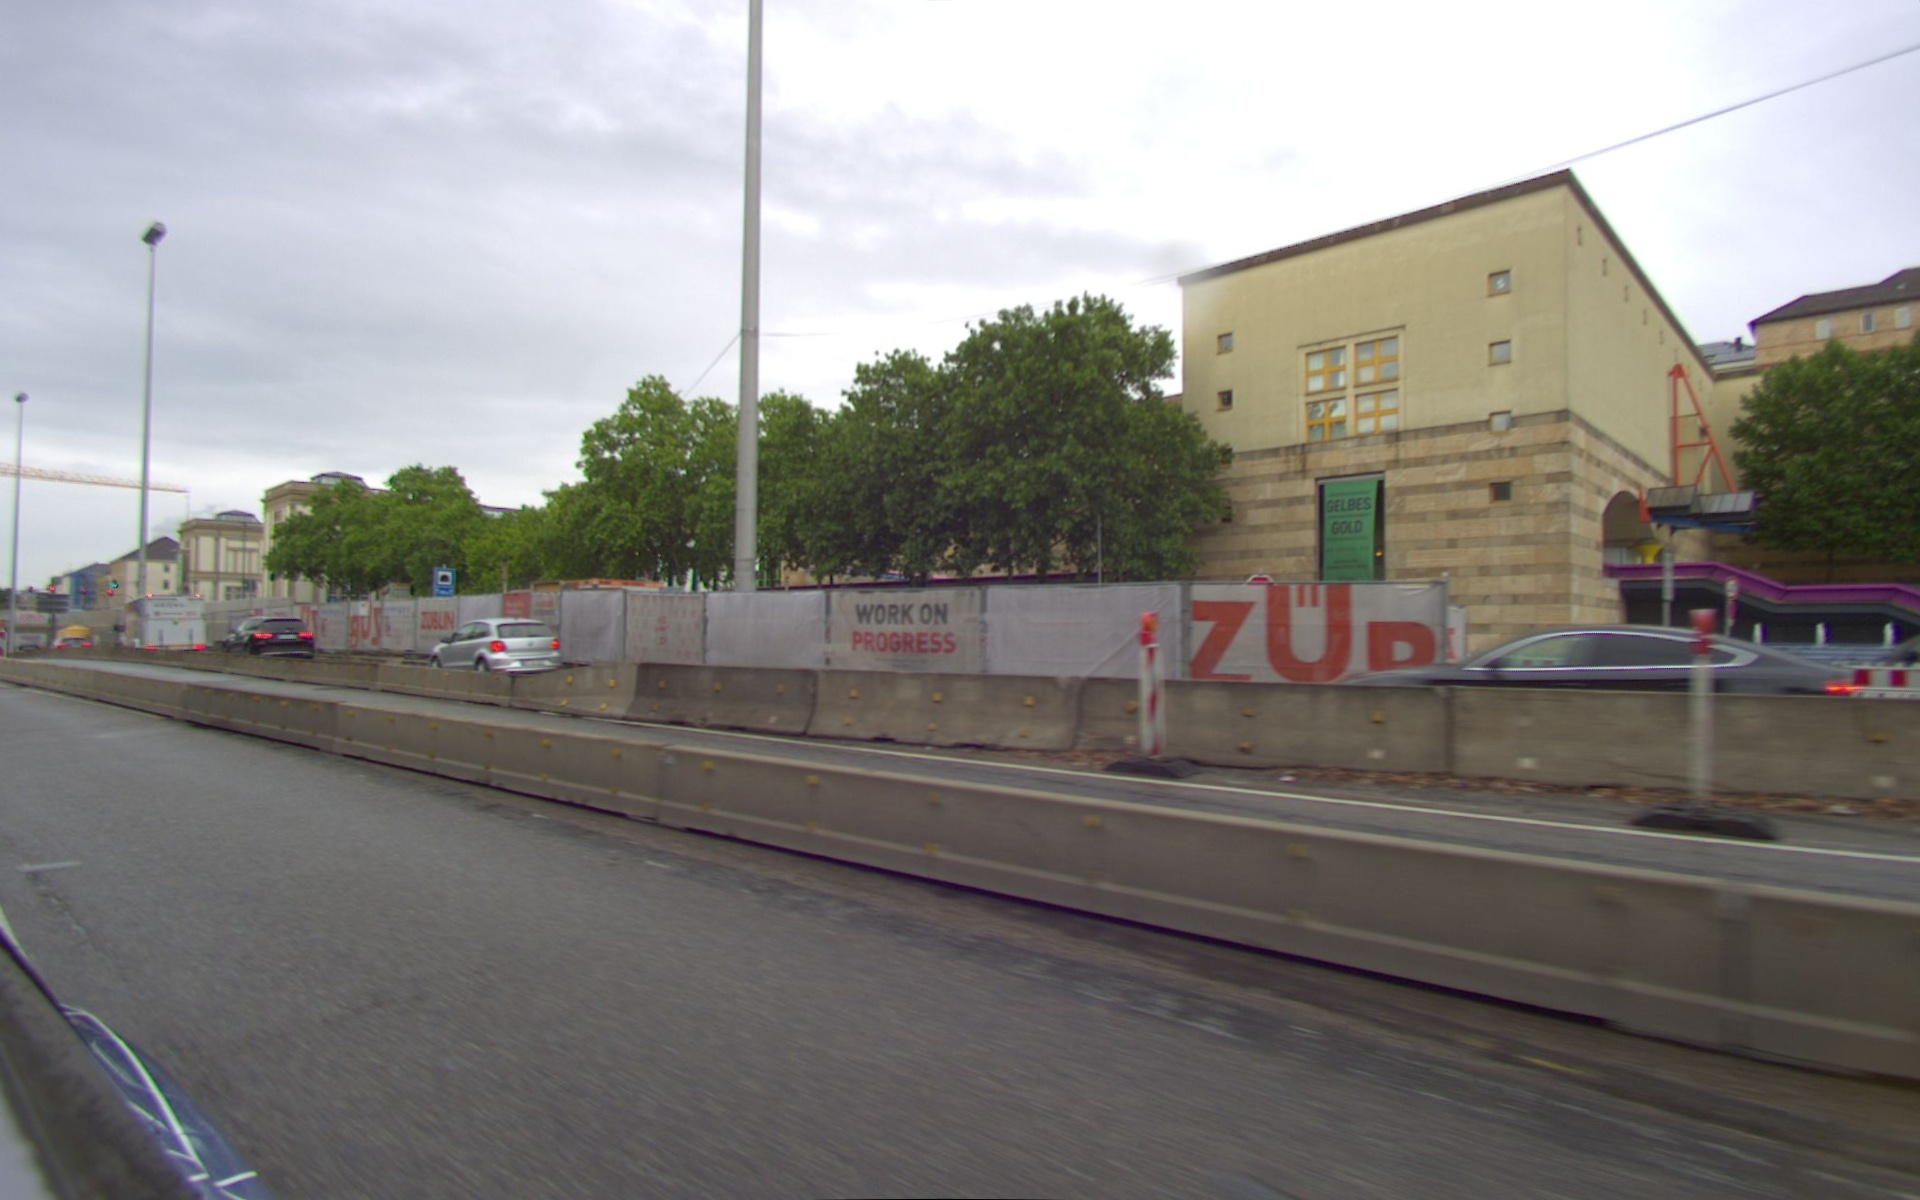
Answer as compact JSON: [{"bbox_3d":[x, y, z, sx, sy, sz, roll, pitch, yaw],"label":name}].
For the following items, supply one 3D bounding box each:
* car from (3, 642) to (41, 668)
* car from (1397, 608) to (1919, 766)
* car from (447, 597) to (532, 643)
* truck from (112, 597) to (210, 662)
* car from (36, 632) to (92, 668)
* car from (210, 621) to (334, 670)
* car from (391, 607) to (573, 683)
[{"bbox_3d":[-71.749,4.201,77.413,3.355,1.882,1.683,-1,-3,40],"label":"car"},{"bbox_3d":[6.901,0.753,9.806,4.747,1.272,1.762,-1,-1,29],"label":"car"},{"bbox_3d":[-21.869,0.968,46.965,4.717,2.029,1.971,-3,-3,43],"label":"car"},{"bbox_3d":[-36.468,1.352,46.087,7.354,2.740,2.371,-2,-3,43],"label":"truck"},{"bbox_3d":[-56.403,3.133,63.715,4.755,2.029,1.888,0,-3,40],"label":"car"},{"bbox_3d":[-23.222,1.514,34.087,4.750,1.542,1.904,-1,-3,35],"label":"car"},{"bbox_3d":[-10.707,0.984,22.625,3.991,1.542,1.976,-1,-3,35],"label":"car"}]
